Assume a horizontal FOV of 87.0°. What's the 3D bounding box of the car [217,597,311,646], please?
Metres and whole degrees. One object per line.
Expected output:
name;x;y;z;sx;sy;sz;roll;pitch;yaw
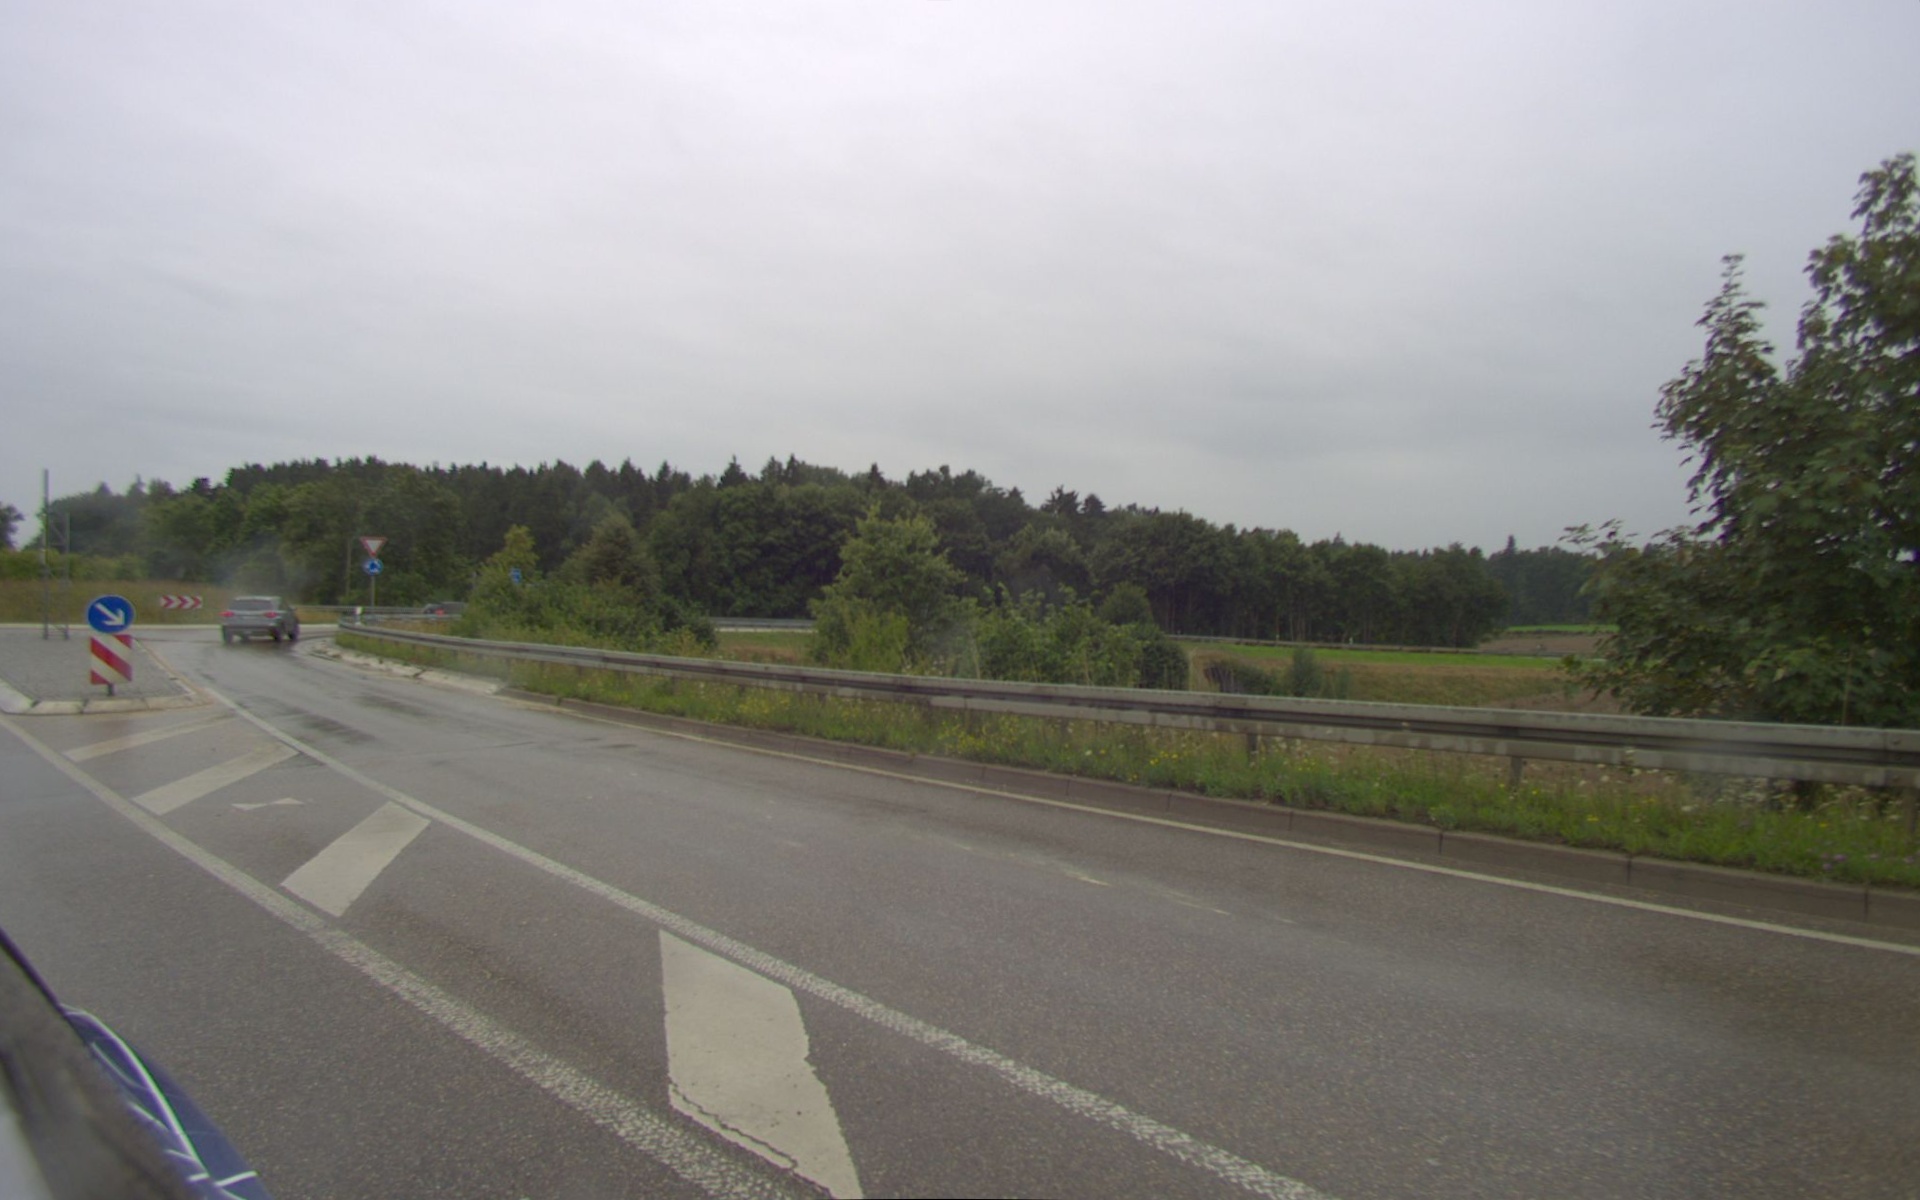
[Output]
car;-25.128;0.726;36.670;1.775;1.586;4.013;0;1;-19

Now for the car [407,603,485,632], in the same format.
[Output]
car;-26.723;0.926;52.767;1.847;1.432;4.504;0;-1;-1
